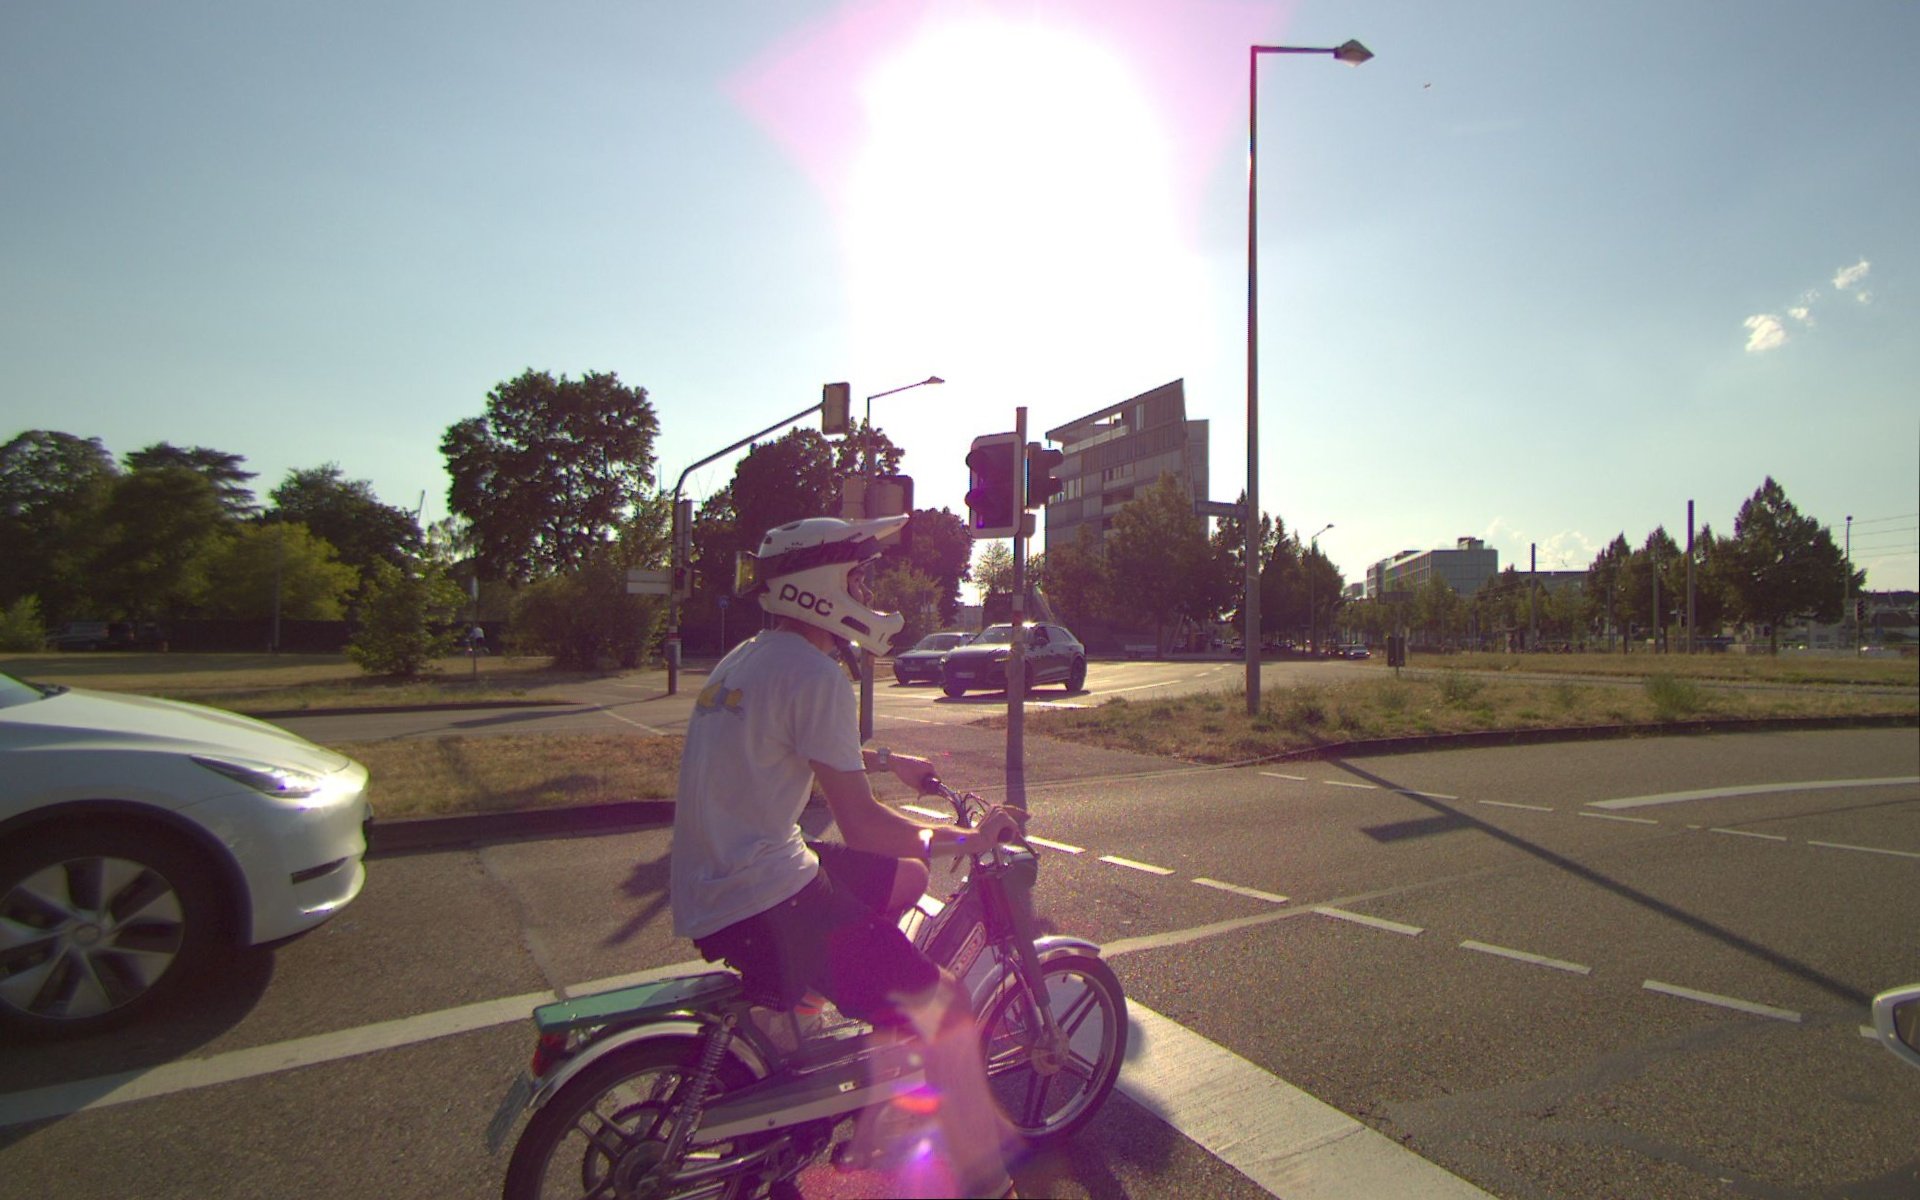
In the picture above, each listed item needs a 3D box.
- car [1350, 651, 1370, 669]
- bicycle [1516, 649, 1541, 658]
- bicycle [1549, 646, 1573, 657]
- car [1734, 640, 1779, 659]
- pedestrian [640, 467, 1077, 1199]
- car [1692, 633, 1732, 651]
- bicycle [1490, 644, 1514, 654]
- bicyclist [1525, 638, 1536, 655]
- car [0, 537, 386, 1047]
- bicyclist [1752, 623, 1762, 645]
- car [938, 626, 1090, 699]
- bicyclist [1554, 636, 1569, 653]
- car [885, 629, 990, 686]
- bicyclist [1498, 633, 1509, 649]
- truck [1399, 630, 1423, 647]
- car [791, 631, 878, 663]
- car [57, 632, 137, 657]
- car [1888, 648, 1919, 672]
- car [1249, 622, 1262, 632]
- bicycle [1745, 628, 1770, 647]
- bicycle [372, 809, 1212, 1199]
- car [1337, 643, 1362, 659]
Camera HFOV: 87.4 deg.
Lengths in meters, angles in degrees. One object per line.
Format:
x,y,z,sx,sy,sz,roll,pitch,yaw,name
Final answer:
36.598,5.476,91.958,1.455,1.495,3.301,0,-2,17,car
46.702,4.387,82.482,1.687,0.754,0.481,0,-2,14,bicycle
50.199,4.299,83.903,1.587,0.871,0.545,0,-2,15,bicycle
88.130,5.458,111.155,1.960,2.040,4.002,0,-2,5,car
-0.253,0.532,2.398,0.844,1.539,0.653,1,-2,-30,pedestrian
89.213,4.997,119.175,1.960,2.040,4.002,0,-2,5,car
45.261,4.087,83.918,1.687,0.754,0.481,0,-2,14,bicycle
46.851,3.832,82.479,0.641,1.343,0.519,0,-1,14,bicyclist
-4.560,0.581,3.179,4.630,1.620,1.724,2,-1,-35,car
62.247,2.671,78.428,0.599,1.694,0.476,0,-2,40,bicyclist
1.377,1.408,23.562,1.624,1.532,4.635,-2,-3,30,car
50.237,3.728,83.925,0.938,1.375,0.694,0,-2,14,bicyclist
-0.599,1.649,29.482,1.621,1.532,3.826,-1,-2,24,car
45.385,3.449,83.900,0.641,1.343,0.519,0,-1,14,bicyclist
89.026,7.542,198.357,3.074,3.273,7.178,0,-2,14,truck
-6.144,2.288,49.318,3.863,1.545,1.658,0,-2,12,car
-55.941,2.877,65.115,4.312,1.545,1.657,0,-2,13,car
75.313,4.668,78.339,3.928,1.840,1.997,-1,-2,29,car
47.105,4.306,160.192,1.753,1.576,4.002,2,0,14,car
62.271,2.917,78.398,1.521,1.493,0.477,-1,-2,40,bicycle
-0.269,1.036,2.278,1.834,0.887,0.475,1,-2,-31,bicycle
38.346,5.011,99.035,1.960,1.495,4.002,0,-2,17,car
